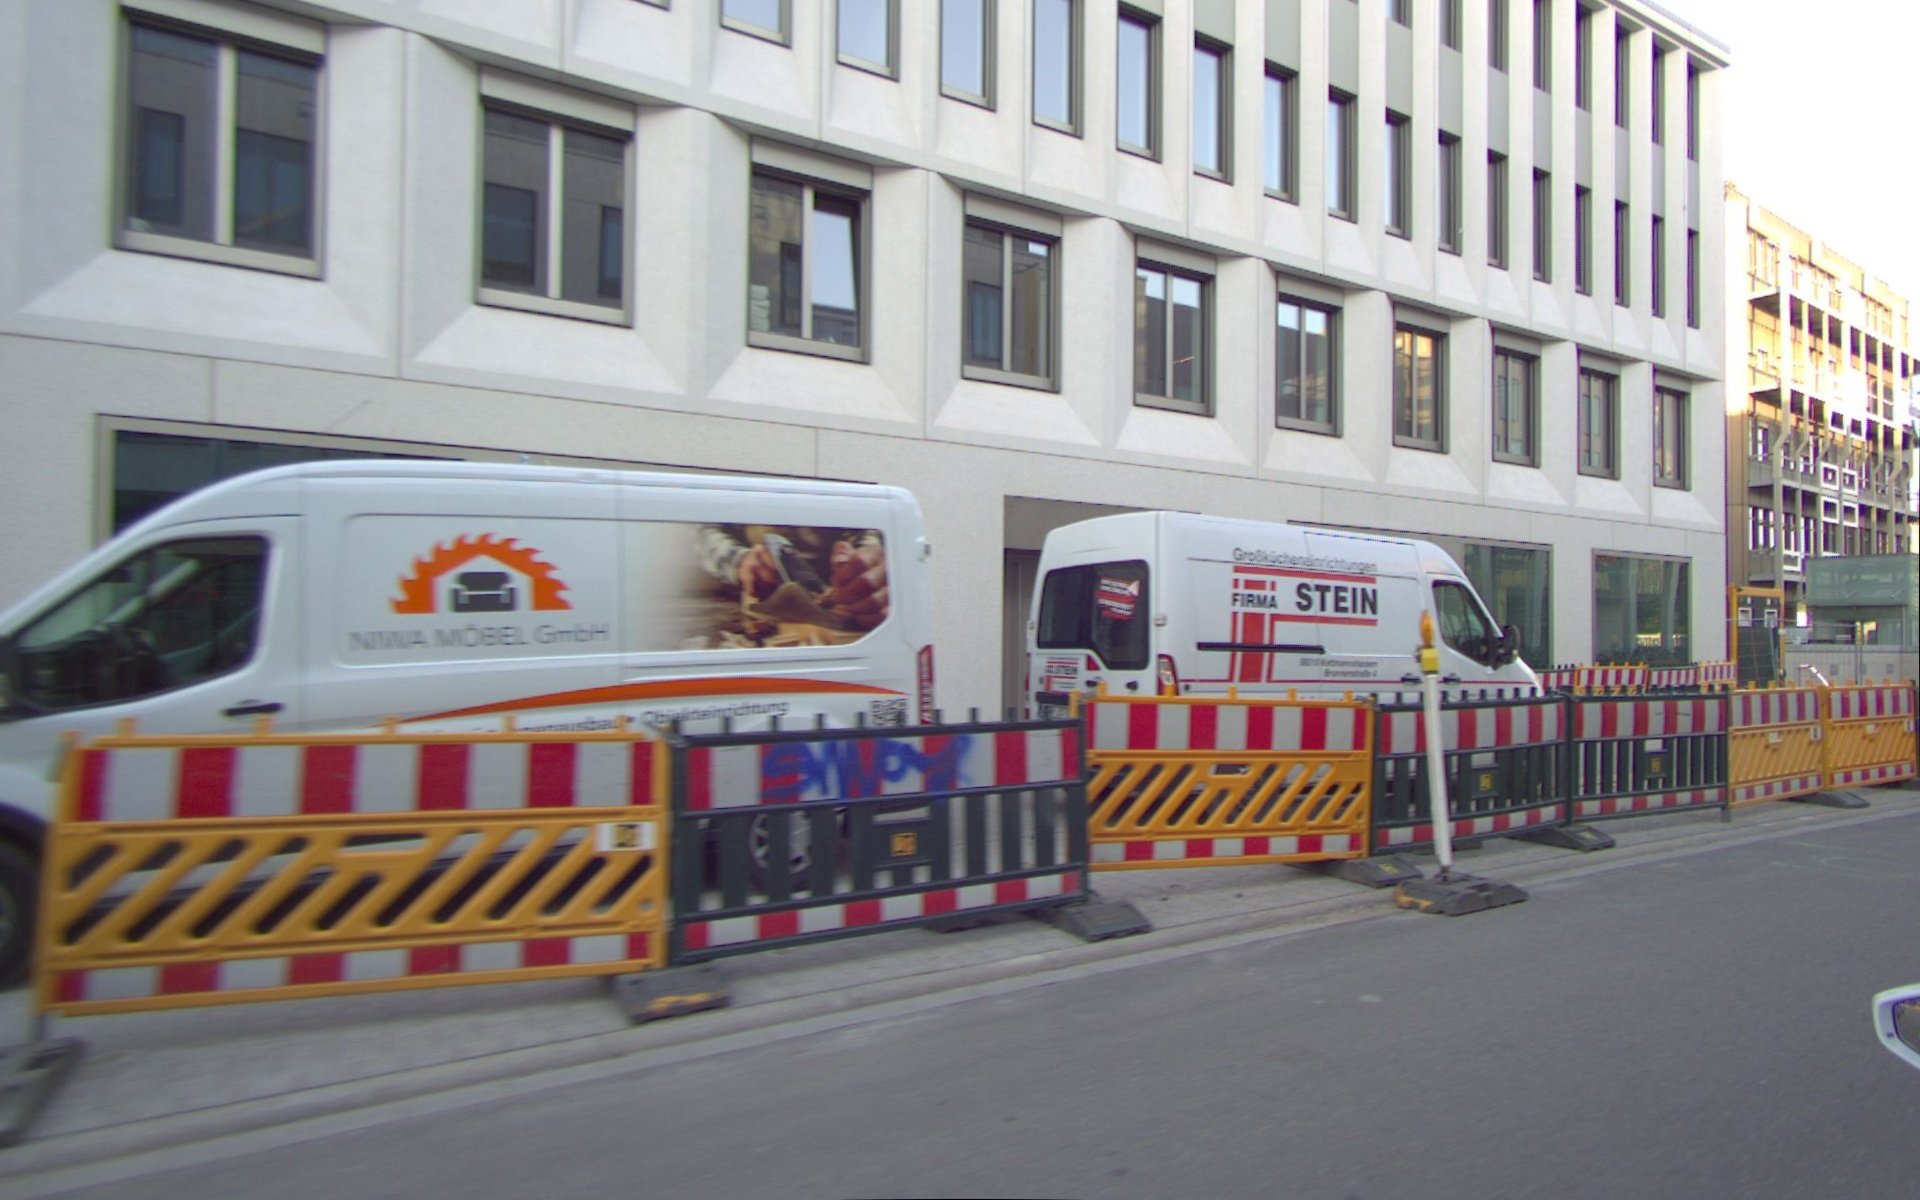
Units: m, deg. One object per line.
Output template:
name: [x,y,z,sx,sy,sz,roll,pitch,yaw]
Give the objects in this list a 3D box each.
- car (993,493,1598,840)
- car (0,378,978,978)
car: [3.399,0.569,9.678,5.928,2.503,2.164,2,-2,-30]
car: [-2.990,0.387,6.018,5.927,2.503,2.164,2,-2,-30]
